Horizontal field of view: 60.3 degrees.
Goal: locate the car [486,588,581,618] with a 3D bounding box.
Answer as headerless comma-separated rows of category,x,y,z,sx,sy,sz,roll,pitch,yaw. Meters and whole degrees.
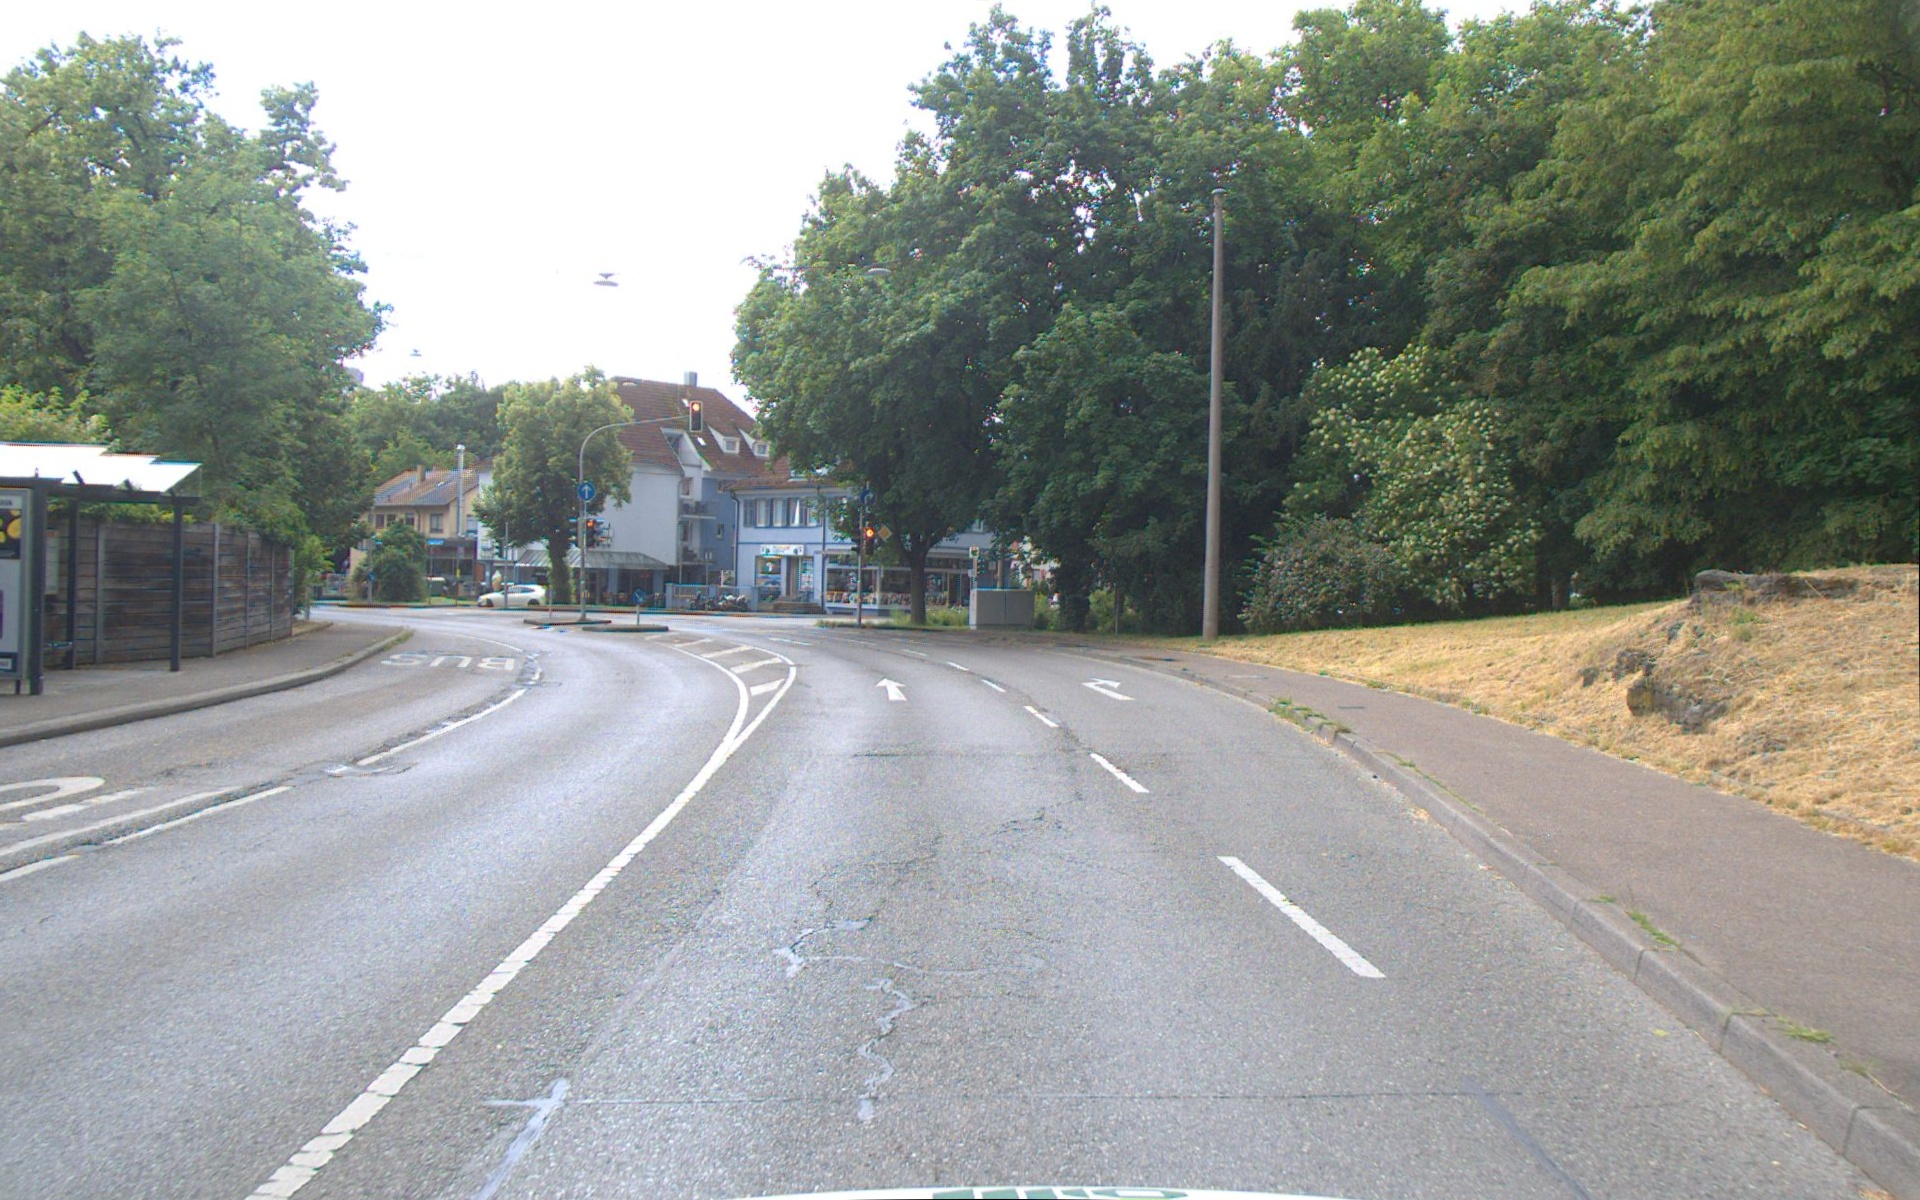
car,-22.593,0.146,87.718,4.479,1.544,2.002,0,0,13

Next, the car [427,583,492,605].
car,-34.561,-0.401,114.316,3.964,1.512,1.734,0,0,-41

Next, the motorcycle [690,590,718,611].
motorcycle,-14.777,0.013,95.427,1.463,1.126,0.561,0,5,11

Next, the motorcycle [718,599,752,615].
motorcycle,-12.826,0.410,94.290,1.797,0.862,0.561,0,5,15
